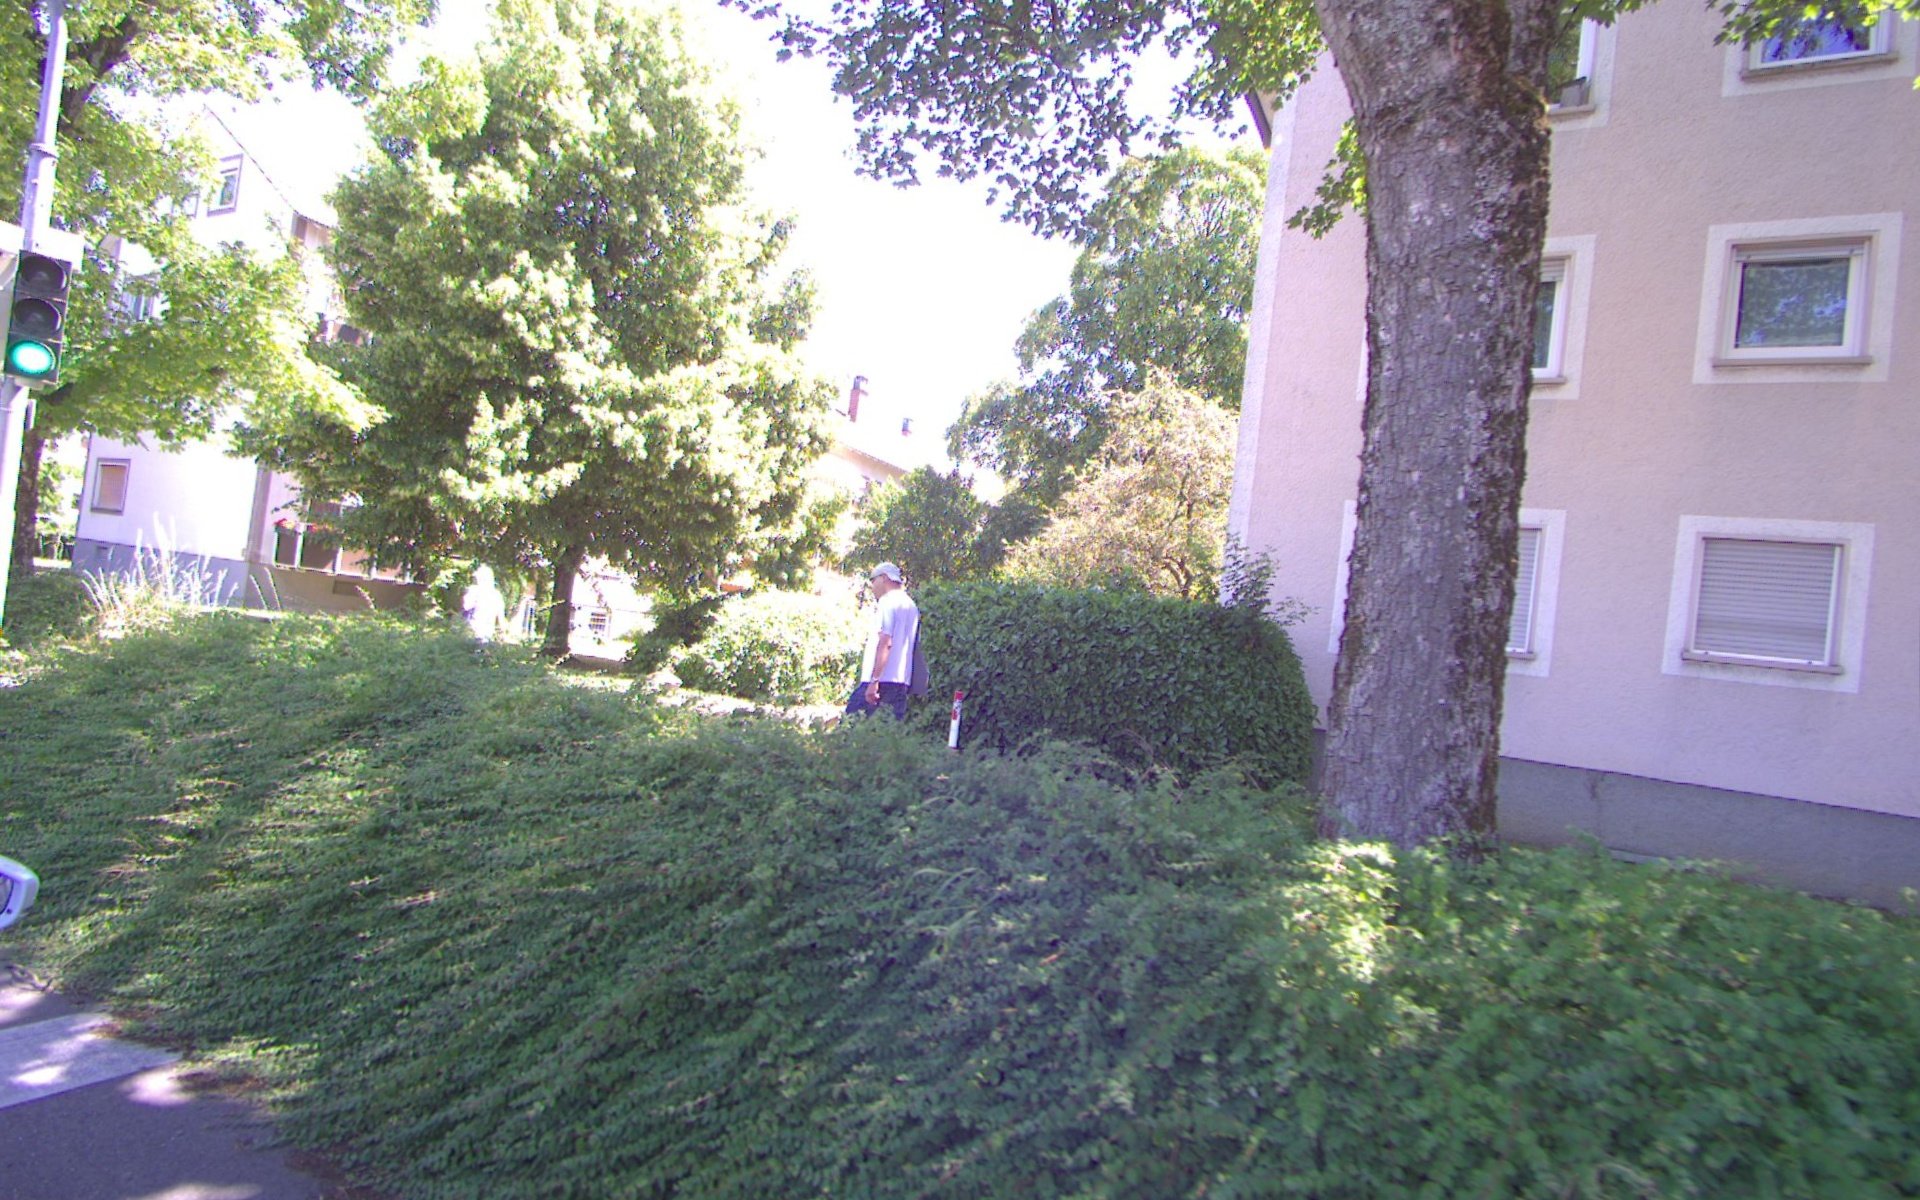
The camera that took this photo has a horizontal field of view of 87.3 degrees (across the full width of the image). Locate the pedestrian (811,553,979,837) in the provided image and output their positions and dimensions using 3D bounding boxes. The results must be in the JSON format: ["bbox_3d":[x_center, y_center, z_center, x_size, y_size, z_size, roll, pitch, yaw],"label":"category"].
[{"bbox_3d":[-0.458,0.675,7.411,0.885,1.896,0.675,6,0,11],"label":"pedestrian"}]

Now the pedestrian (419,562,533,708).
[{"bbox_3d":[-5.901,0.426,12.280,0.836,1.653,0.720,6,-1,23],"label":"pedestrian"}]
